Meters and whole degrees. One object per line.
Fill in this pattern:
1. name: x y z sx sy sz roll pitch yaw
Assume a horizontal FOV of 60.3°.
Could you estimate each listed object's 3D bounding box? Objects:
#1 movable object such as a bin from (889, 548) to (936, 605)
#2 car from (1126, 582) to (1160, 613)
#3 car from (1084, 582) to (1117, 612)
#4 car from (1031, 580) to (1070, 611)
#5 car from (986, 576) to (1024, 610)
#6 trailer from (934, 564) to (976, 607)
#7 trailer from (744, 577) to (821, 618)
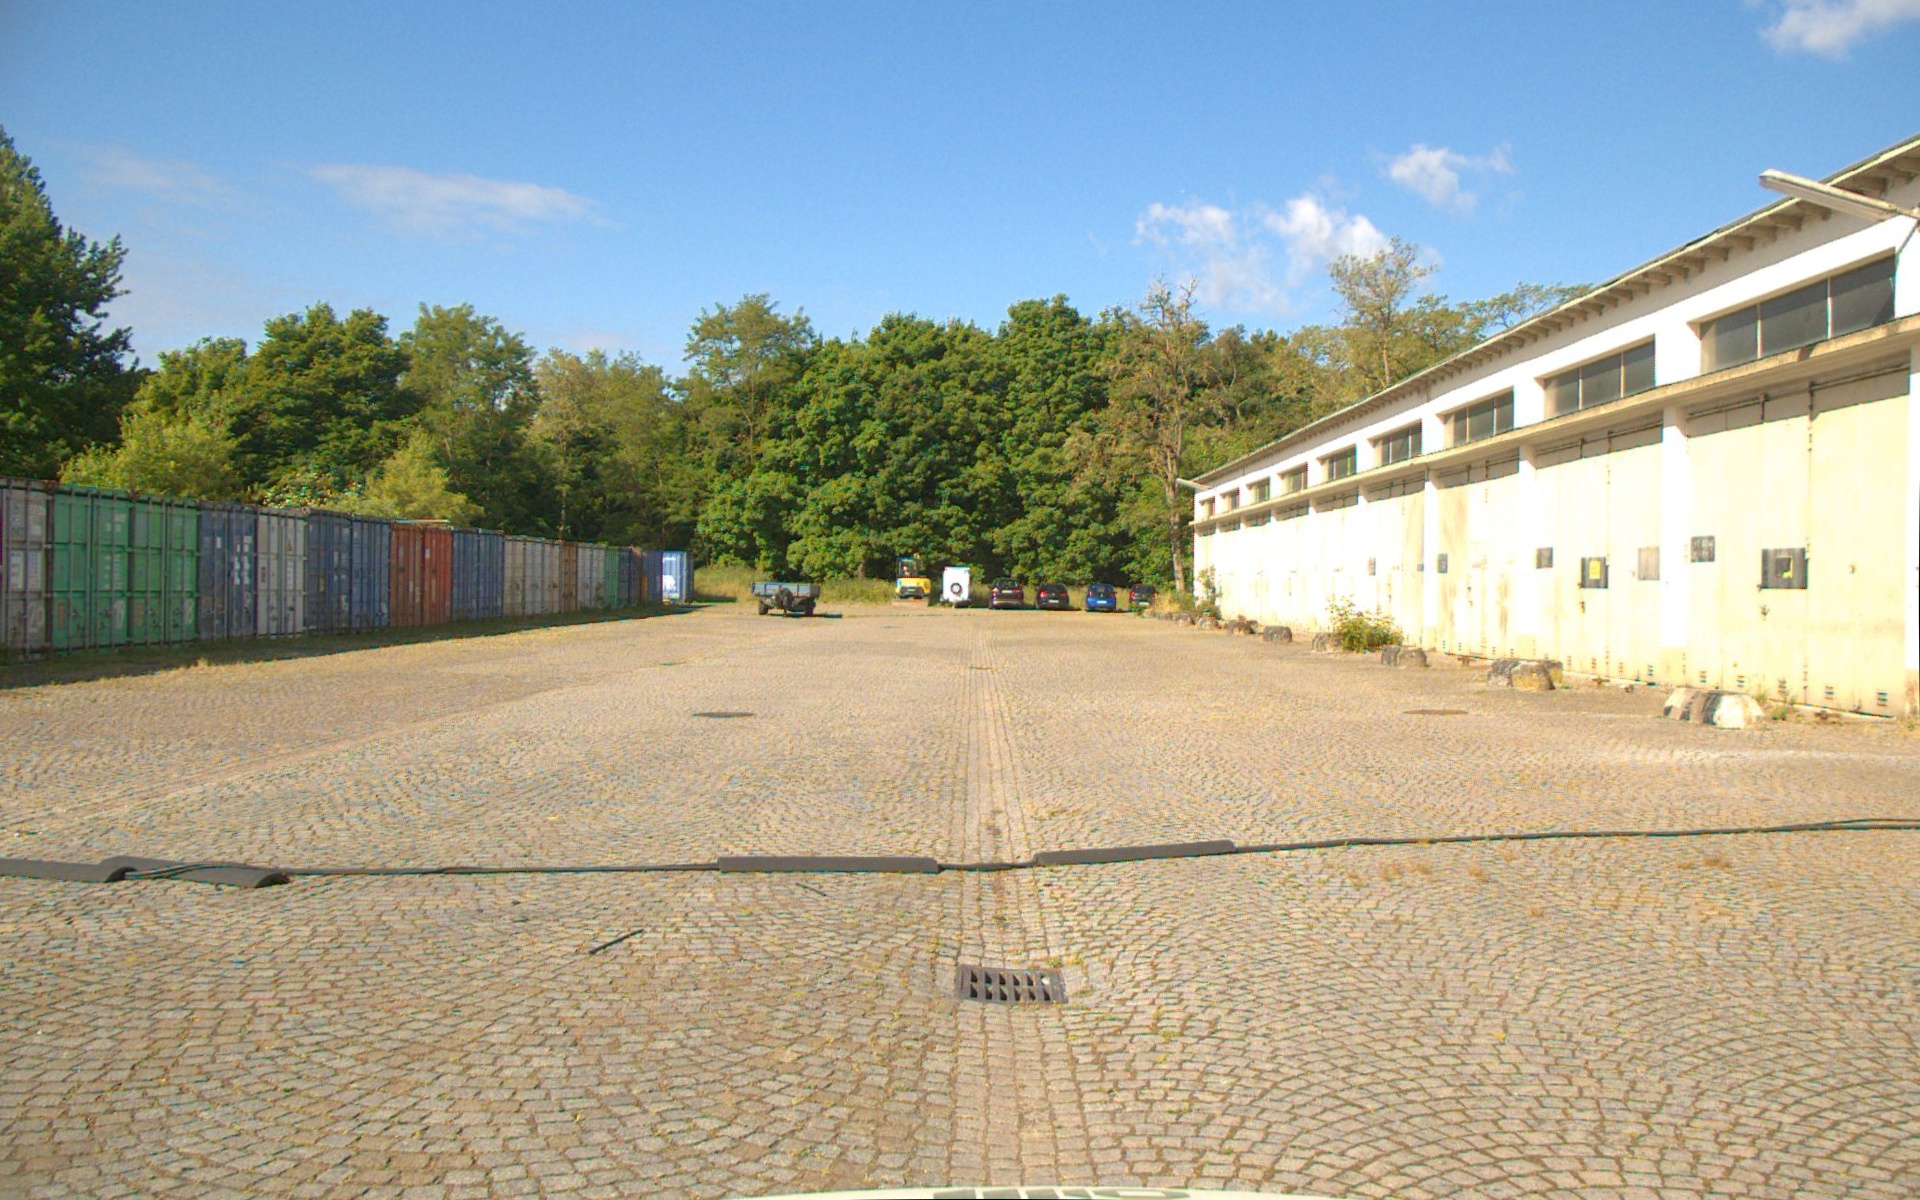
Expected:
1. movable object such as a bin: -2.573 -1.346 91.006 2.259 2.947 5.753 2 2 1
2. car: 9.937 -0.157 89.717 1.707 1.461 4.187 2 2 7
3. car: 7.524 -0.173 88.316 1.707 1.461 4.186 2 2 5
4. car: 4.814 -0.259 88.385 1.825 1.495 4.296 2 2 0
5. car: 2.374 -0.385 88.025 1.825 1.616 4.296 2 2 0
6. trailer: -0.253 -0.831 90.409 2.148 2.131 5.752 2 2 0
7. trailer: -7.468 -0.136 70.346 2.650 1.491 6.247 2 1 -1
